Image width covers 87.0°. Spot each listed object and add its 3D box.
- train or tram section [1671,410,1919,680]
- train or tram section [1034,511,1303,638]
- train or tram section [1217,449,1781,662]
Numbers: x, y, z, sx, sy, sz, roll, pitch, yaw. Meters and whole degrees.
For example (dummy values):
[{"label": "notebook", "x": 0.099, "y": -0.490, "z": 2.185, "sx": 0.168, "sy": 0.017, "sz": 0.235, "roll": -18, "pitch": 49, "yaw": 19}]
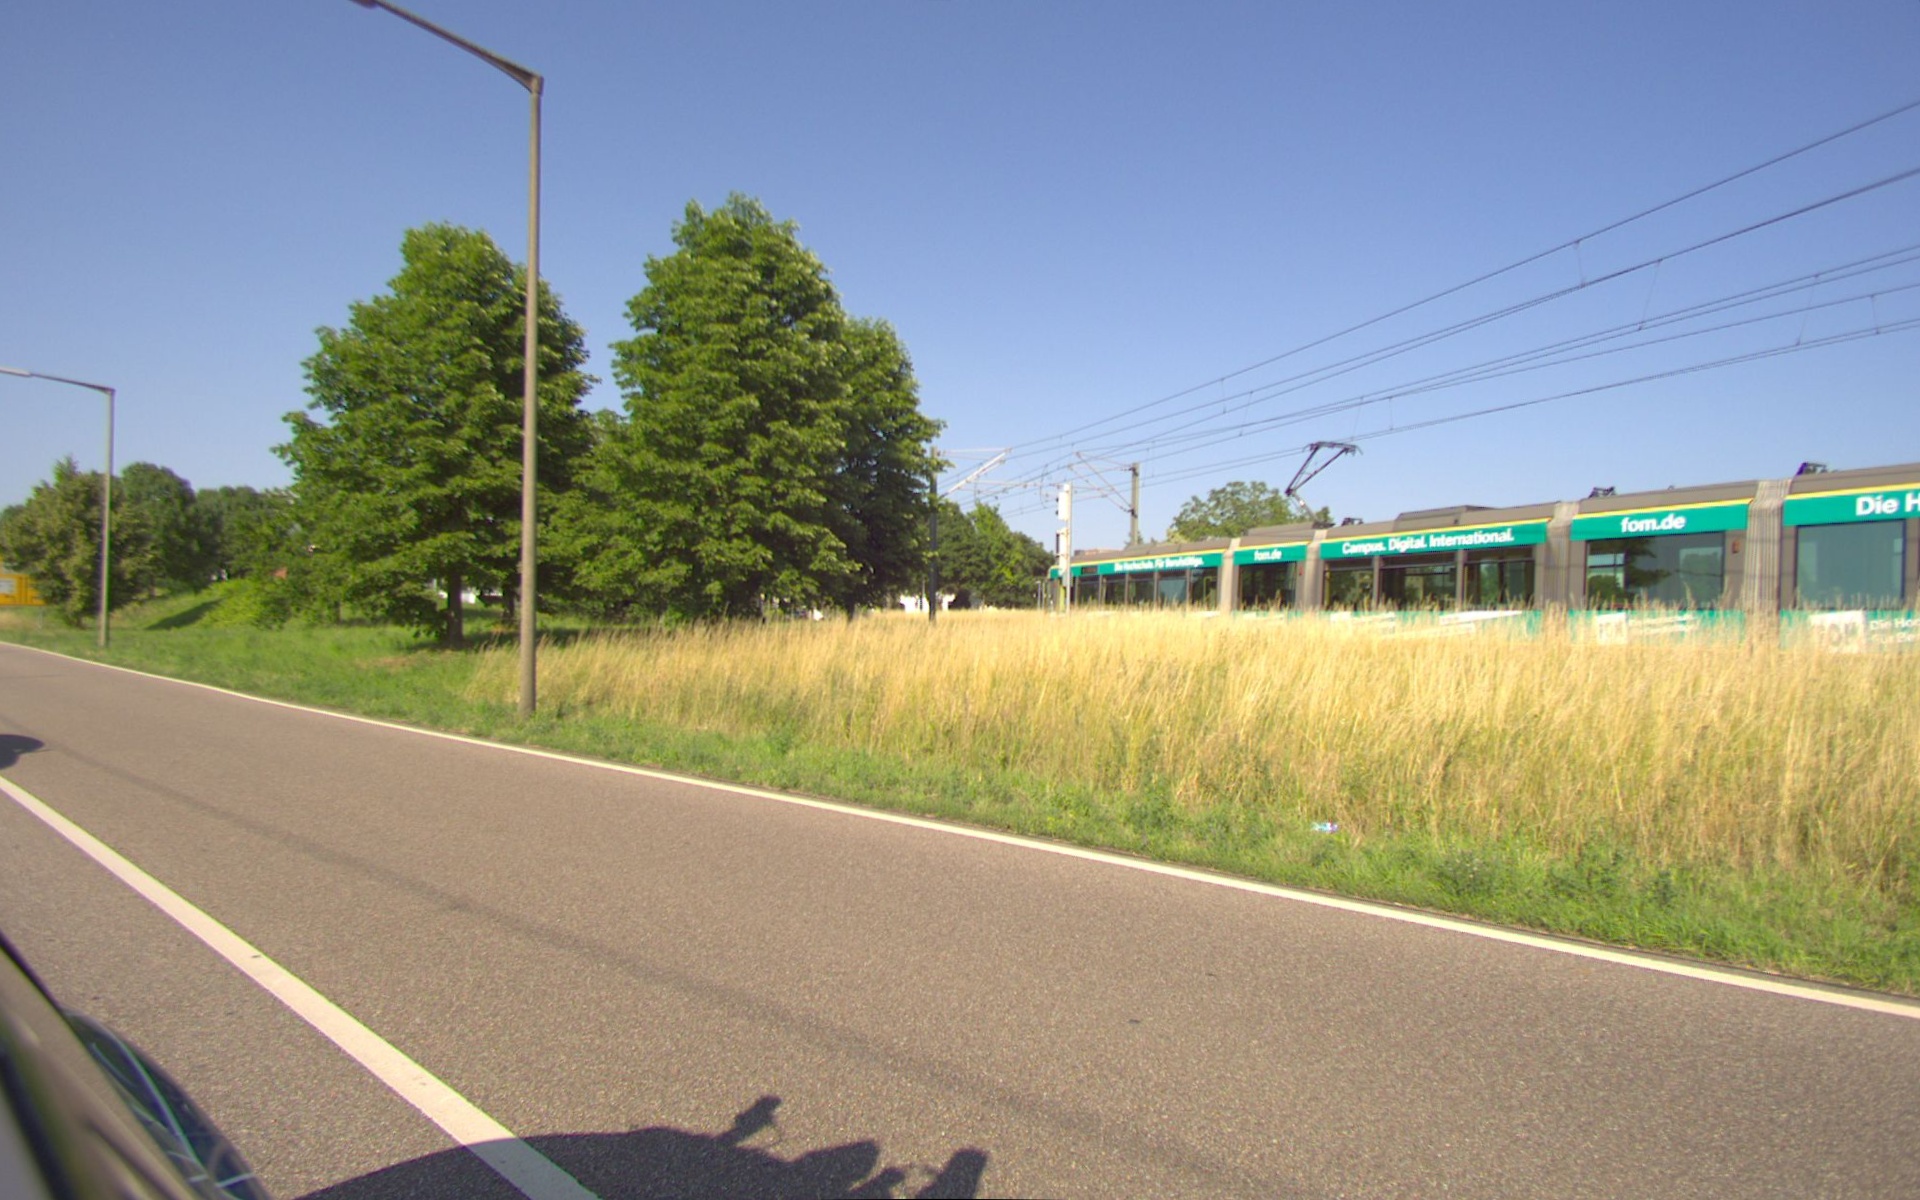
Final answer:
[{"label": "train or tram section", "x": 15.643, "y": -0.660, "z": 10.358, "sx": 2.865, "sy": 3.595, "sz": 14.309, "roll": 0, "pitch": 1, "yaw": -23}, {"label": "train or tram section", "x": 6.344, "y": -0.702, "z": 34.173, "sx": 2.909, "sy": 3.511, "sz": 12.204, "roll": 0, "pitch": 0, "yaw": -20}, {"label": "train or tram section", "x": 10.666, "y": -0.771, "z": 22.711, "sx": 2.876, "sy": 3.480, "sz": 12.206, "roll": 0, "pitch": 0, "yaw": -21}]
